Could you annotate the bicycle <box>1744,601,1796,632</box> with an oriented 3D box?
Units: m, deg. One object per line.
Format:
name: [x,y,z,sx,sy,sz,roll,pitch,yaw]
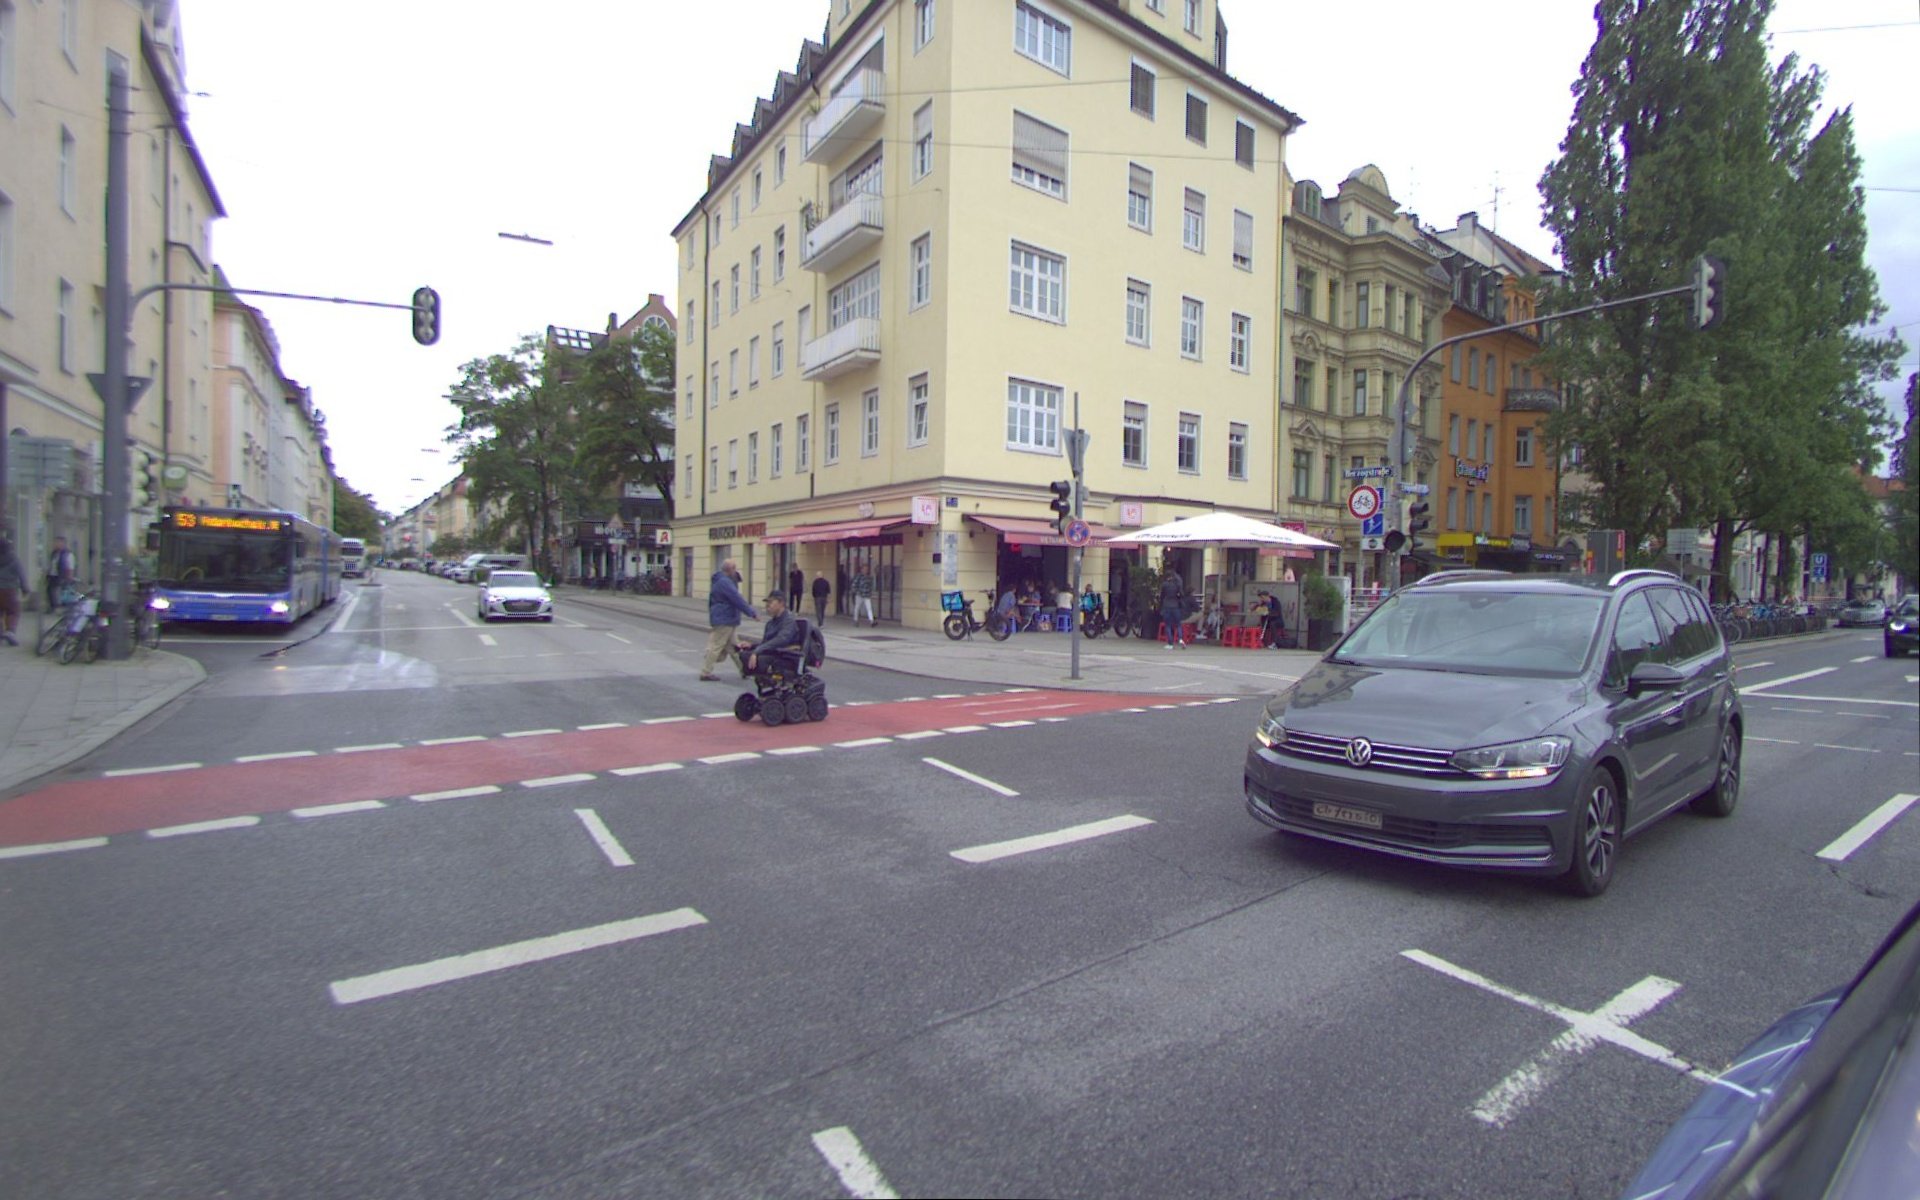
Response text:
bicycle: [27.423,0.549,34.283,0.319,1.008,1.841,1,0,2]

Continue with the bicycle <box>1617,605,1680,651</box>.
bicycle: [16.964,0.669,24.979,0.341,1.008,1.841,1,2,2]

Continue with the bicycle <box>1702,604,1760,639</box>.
bicycle: [23.542,0.644,30.928,0.319,1.008,1.842,1,0,-1]

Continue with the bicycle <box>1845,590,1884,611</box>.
bicycle: [48.897,0.021,54.726,0.352,1.116,1.747,1,1,-6]

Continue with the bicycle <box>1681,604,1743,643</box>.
bicycle: [21.538,0.651,29.027,0.341,1.008,1.843,1,2,-1]

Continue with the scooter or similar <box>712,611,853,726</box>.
scooter or similar: [-1.860,0.685,10.659,1.235,1.088,0.776,0,2,-42]

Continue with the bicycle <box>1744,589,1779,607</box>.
bicycle: [53.086,-0.118,67.053,1.855,1.169,0.464,0,1,8]

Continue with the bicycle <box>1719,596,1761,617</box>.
bicycle: [43.246,0.336,56.104,0.439,1.123,1.802,0,1,-38]

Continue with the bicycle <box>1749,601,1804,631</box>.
bicycle: [28.333,0.545,35.132,0.319,1.008,1.843,1,0,-3]

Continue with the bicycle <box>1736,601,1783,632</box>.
bicycle: [27.033,0.551,34.240,0.319,1.008,1.838,1,0,7]

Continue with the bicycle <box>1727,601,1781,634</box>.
bicycle: [25.822,0.556,32.949,0.319,1.008,1.841,1,0,2]

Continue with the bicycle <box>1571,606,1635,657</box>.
bicycle: [14.414,0.680,22.734,0.342,1.008,1.841,1,2,4]

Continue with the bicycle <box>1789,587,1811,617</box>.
bicycle: [38.255,0.087,46.090,1.747,1.304,0.424,0,1,-40]

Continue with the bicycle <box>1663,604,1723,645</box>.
bicycle: [20.015,0.658,27.676,0.341,1.008,1.841,1,2,3]

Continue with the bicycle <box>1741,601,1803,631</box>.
bicycle: [28.696,0.540,35.797,0.367,1.008,1.846,2,0,-16]

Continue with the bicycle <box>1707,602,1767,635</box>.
bicycle: [24.256,0.562,31.633,0.319,1.008,1.843,1,0,-4]

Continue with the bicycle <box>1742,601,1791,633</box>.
bicycle: [26.716,0.552,33.556,0.319,1.008,1.839,1,0,6]

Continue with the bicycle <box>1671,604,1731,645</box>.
bicycle: [20.564,0.655,28.118,0.341,1.008,1.841,1,2,3]

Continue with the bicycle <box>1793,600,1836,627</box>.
bicycle: [33.091,0.530,39.222,0.369,1.008,1.836,1,0,10]

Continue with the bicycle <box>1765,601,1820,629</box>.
bicycle: [30.451,0.541,37.042,0.368,1.008,1.843,1,0,-3]

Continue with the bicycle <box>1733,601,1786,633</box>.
bicycle: [26.318,0.554,33.356,0.319,1.008,1.841,1,0,2]

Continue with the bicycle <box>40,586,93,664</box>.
bicycle: [-12.898,0.335,14.602,1.574,1.046,0.245,2,1,36]

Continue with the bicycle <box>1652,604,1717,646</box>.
bicycle: [19.502,0.659,27.286,0.341,1.008,1.843,1,2,-1]

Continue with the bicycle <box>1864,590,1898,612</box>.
bicycle: [49.717,0.057,54.662,0.353,1.116,1.743,1,1,5]

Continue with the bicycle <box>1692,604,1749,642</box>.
bicycle: [22.139,0.649,29.494,0.319,1.008,1.841,1,2,4]

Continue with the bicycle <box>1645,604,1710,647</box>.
bicycle: [19.018,0.661,26.862,0.341,1.008,1.843,1,2,-1]

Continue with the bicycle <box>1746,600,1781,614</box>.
bicycle: [47.232,0.409,59.511,0.385,0.845,1.574,0,1,-43]

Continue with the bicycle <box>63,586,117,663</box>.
bicycle: [-12.763,0.334,14.829,1.574,1.046,0.245,2,1,36]

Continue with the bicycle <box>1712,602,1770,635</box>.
bicycle: [24.797,0.560,32.163,0.319,1.008,1.843,1,0,-4]

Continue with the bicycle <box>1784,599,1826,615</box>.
bicycle: [48.587,0.401,58.209,0.385,0.928,1.837,0,1,-39]

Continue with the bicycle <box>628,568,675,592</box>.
bicycle: [-16.773,-1.101,55.084,2.429,1.257,0.758,1,1,-14]

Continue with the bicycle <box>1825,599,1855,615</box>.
bicycle: [55.662,0.440,64.016,1.801,1.036,0.447,0,1,-14]

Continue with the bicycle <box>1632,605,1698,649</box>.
bicycle: [17.976,0.665,25.841,0.341,1.008,1.843,1,2,-1]

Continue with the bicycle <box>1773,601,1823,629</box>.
bicycle: [31.023,0.538,37.487,0.368,1.008,1.840,1,0,3]

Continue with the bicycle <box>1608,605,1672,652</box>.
bicycle: [16.471,0.671,24.550,0.341,1.008,1.841,1,2,2]

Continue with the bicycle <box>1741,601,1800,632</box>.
bicycle: [27.843,0.548,34.779,0.318,1.008,1.845,1,0,-8]

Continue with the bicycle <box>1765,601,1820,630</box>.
bicycle: [30.050,0.542,36.546,0.368,1.008,1.843,1,0,-3]

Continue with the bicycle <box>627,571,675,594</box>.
bicycle: [-16.500,-0.925,54.092,2.429,1.204,0.758,1,1,-14]

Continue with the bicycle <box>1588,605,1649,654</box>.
bicycle: [15.455,0.676,23.798,0.342,1.008,1.840,1,2,5]

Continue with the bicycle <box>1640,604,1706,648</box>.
bicycle: [18.482,0.663,26.265,0.341,1.008,1.843,1,2,-1]

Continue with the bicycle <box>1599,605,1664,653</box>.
bicycle: [15.948,0.673,24.078,0.341,1.008,1.841,1,2,2]

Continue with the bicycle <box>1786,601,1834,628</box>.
bicycle: [32.561,0.532,38.793,0.368,1.008,1.840,1,0,4]

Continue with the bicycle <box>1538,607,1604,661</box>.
bicycle: [12.843,0.686,21.311,0.342,1.008,1.841,1,2,4]

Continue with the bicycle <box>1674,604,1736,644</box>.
bicycle: [21.030,0.654,28.616,0.341,1.008,1.843,1,2,-1]

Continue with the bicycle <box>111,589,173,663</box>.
bicycle: [-12.567,0.371,15.540,1.574,1.046,0.353,2,1,36]

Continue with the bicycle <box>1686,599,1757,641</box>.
bicycle: [22.579,0.577,30.045,0.457,1.126,1.845,1,1,-8]

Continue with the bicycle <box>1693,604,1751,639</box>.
bicycle: [23.042,0.646,30.644,0.319,1.008,1.842,1,0,-1]

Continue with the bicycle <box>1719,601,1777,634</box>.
bicycle: [25.283,0.558,32.504,0.319,1.008,1.843,1,0,-4]

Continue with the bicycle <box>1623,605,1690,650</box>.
bicycle: [17.470,0.667,25.427,0.341,1.008,1.843,1,2,-1]

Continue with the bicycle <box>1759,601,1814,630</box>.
bicycle: [29.460,0.545,36.108,0.368,1.008,1.843,1,0,-3]

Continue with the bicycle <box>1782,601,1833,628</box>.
bicycle: [32.031,0.534,38.279,0.368,1.008,1.841,1,0,1]

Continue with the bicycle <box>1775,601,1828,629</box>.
bicycle: [31.487,0.536,37.886,0.368,1.008,1.843,1,0,-2]

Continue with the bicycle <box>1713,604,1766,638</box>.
bicycle: [24.096,0.641,31.327,0.319,1.008,1.840,1,0,4]
